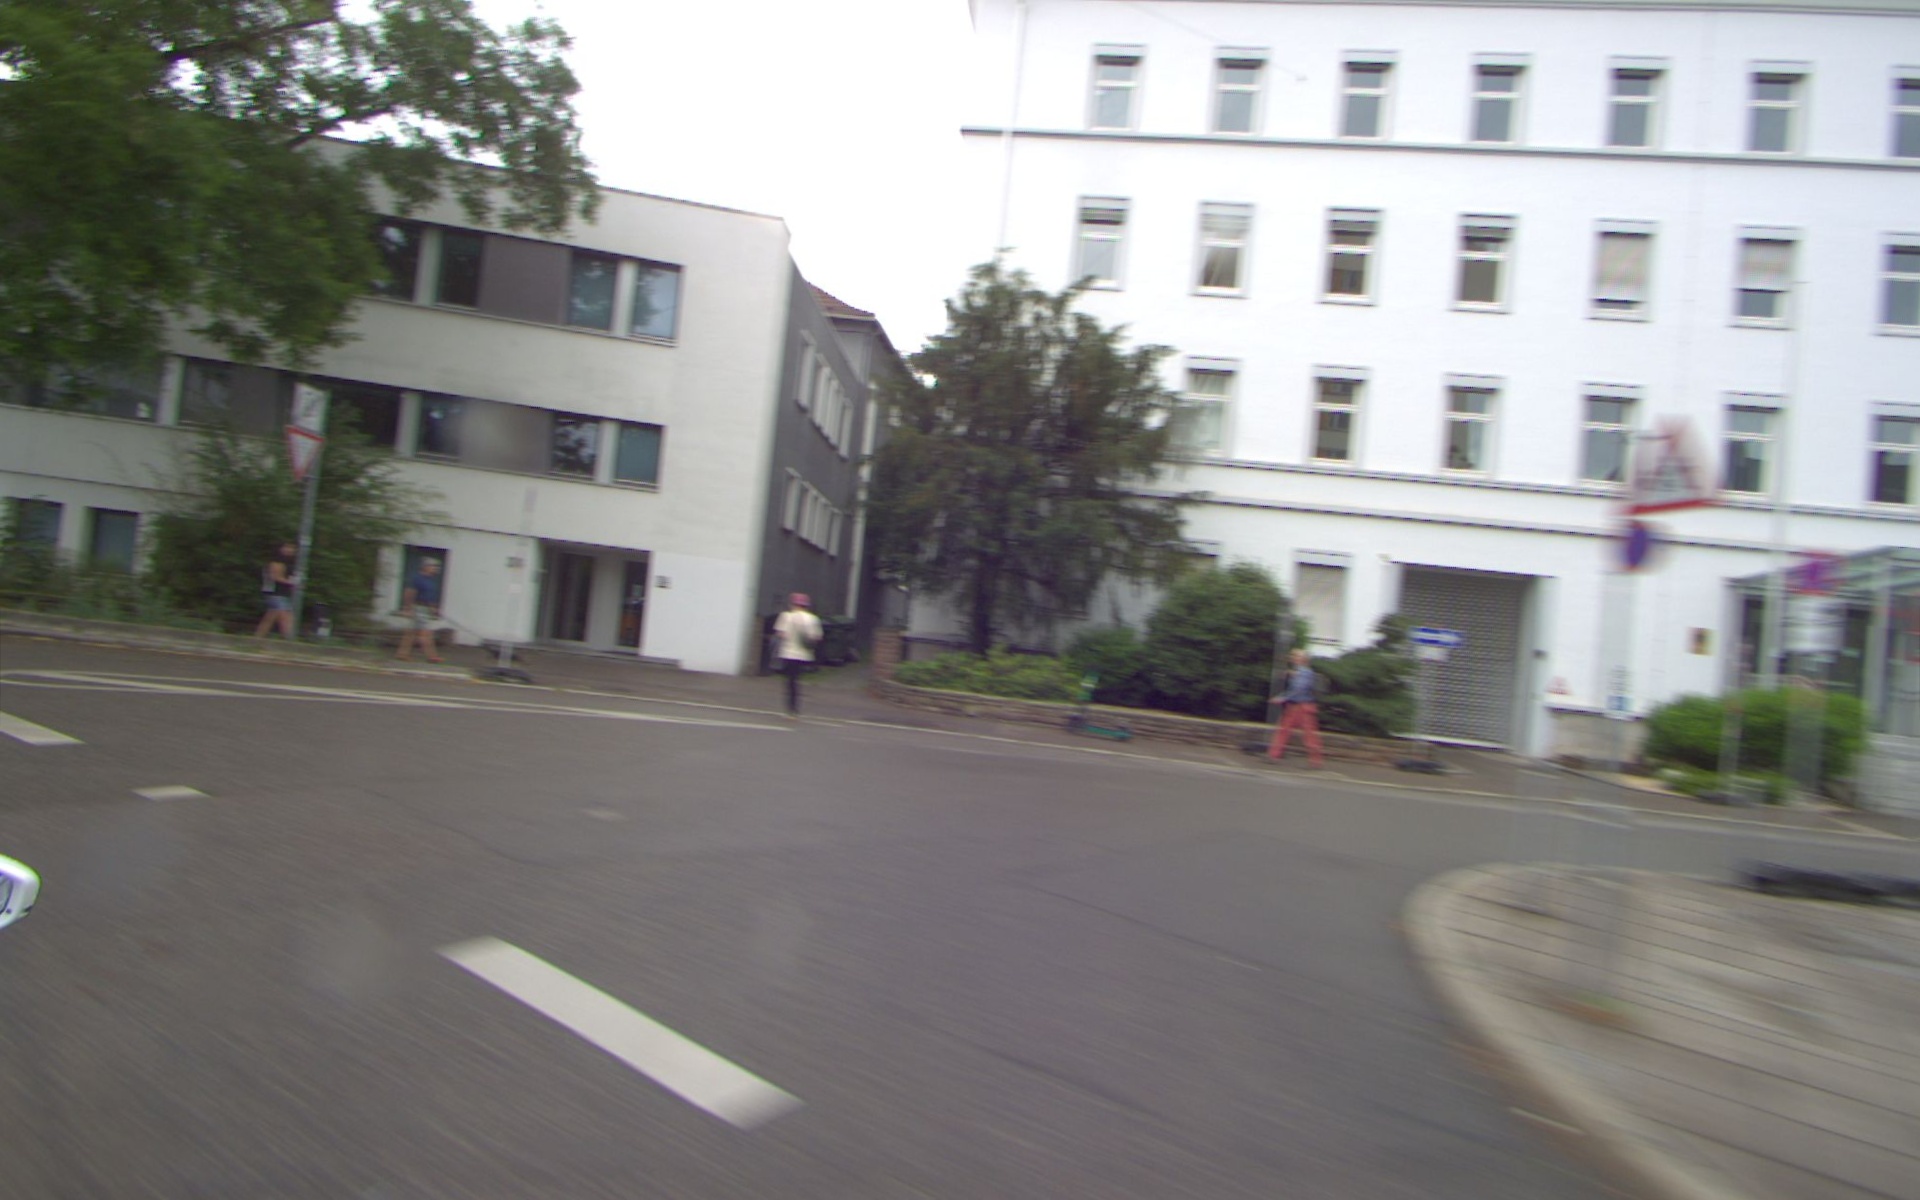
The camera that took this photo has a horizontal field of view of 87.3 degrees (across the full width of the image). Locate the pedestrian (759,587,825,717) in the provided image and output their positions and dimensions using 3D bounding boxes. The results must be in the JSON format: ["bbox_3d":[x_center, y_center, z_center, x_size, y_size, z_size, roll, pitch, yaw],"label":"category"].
[{"bbox_3d":[-2.368,0.747,14.262,0.661,1.718,0.746,6,-4,-3],"label":"pedestrian"}]

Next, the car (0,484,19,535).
[{"bbox_3d":[-30.841,-2.977,30.205,1.594,1.525,3.897,5,-2,-4],"label":"car"}]

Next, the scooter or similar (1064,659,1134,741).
[{"bbox_3d":[2.435,1.738,17.567,1.081,1.305,0.464,4,-2,12],"label":"scooter or similar"}]

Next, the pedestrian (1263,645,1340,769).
[{"bbox_3d":[5.708,1.780,16.841,0.901,1.946,0.542,6,0,-11],"label":"pedestrian"}]

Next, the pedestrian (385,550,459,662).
[{"bbox_3d":[-8.454,0.104,15.832,0.590,1.648,0.546,9,-1,2],"label":"pedestrian"}]

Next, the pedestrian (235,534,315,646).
[{"bbox_3d":[-10.402,-0.144,15.282,0.536,1.583,0.602,9,-1,26],"label":"pedestrian"}]
